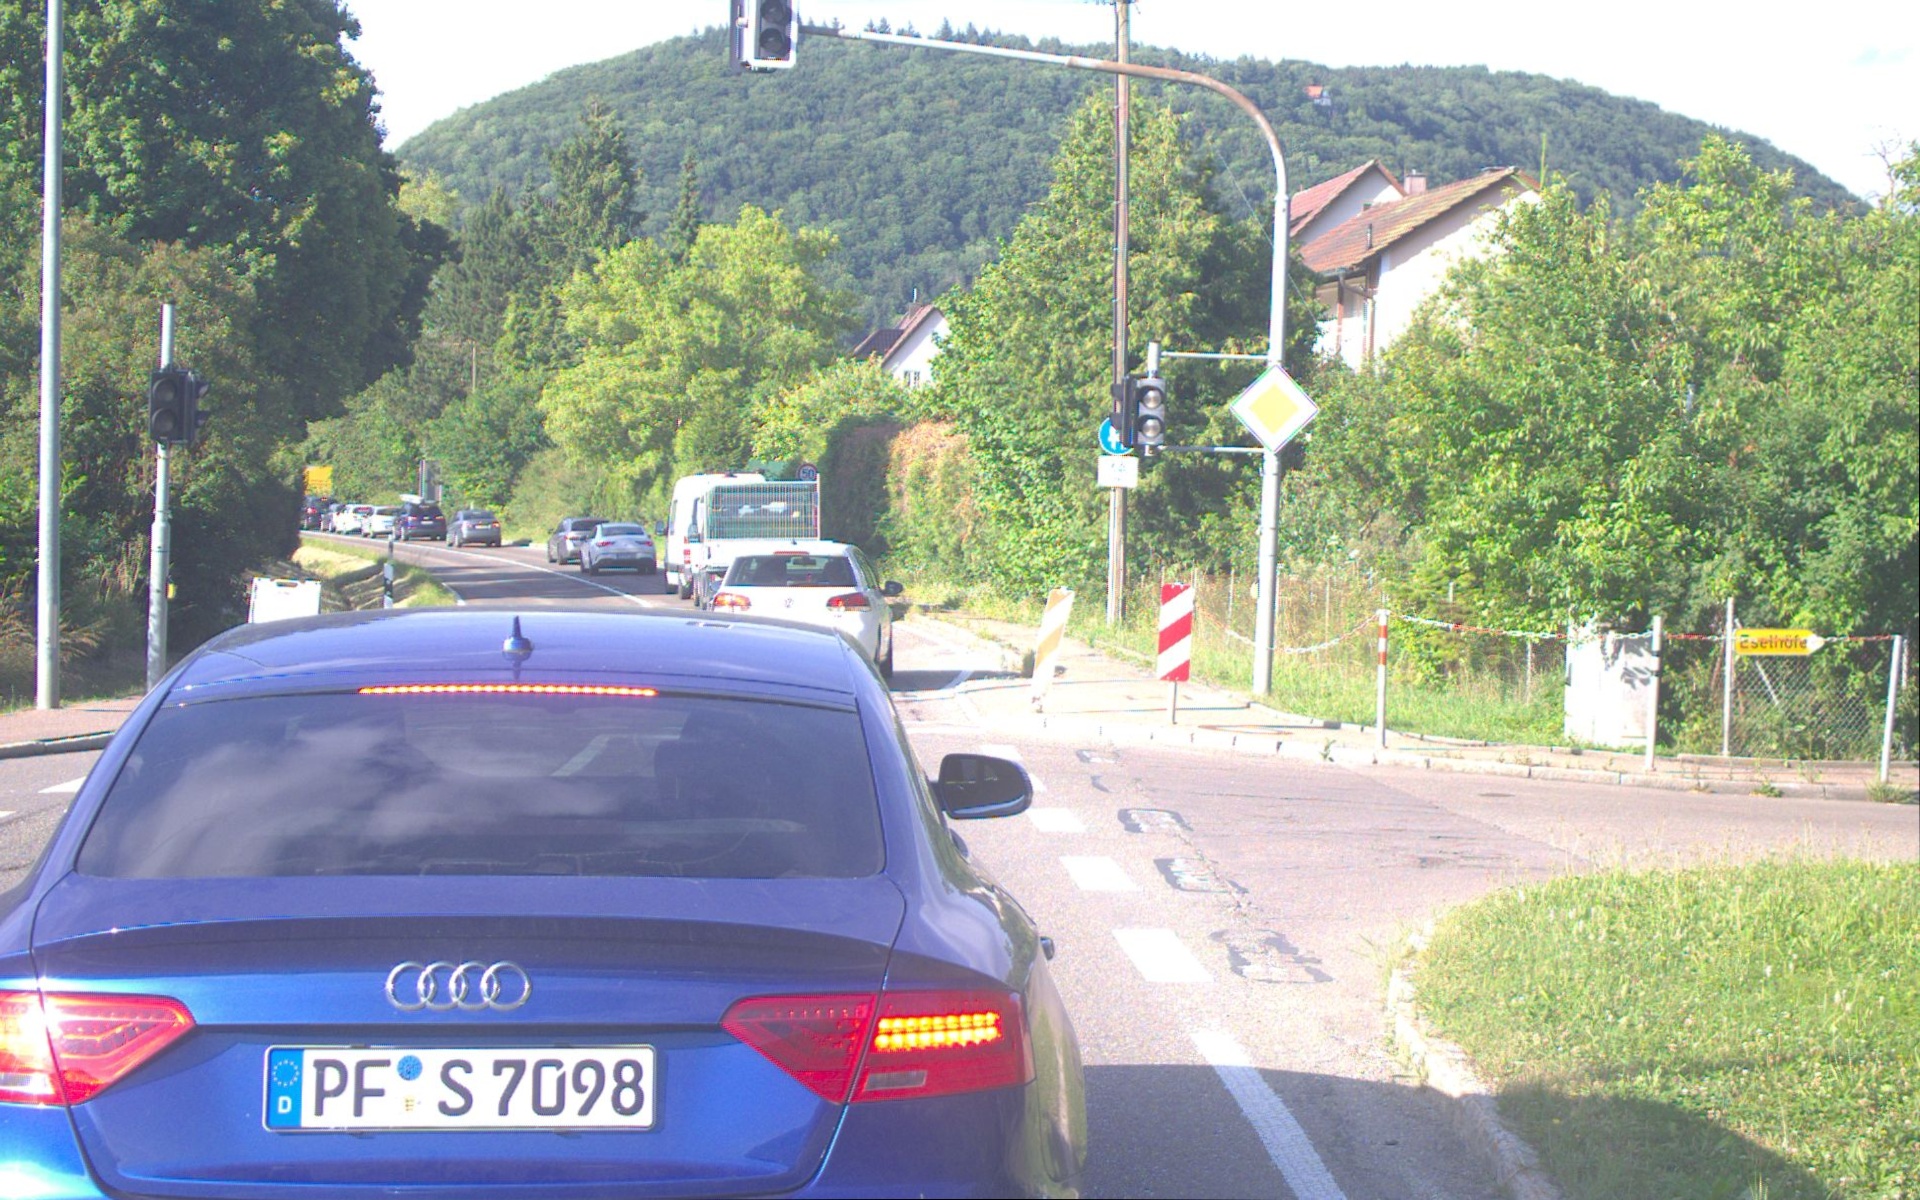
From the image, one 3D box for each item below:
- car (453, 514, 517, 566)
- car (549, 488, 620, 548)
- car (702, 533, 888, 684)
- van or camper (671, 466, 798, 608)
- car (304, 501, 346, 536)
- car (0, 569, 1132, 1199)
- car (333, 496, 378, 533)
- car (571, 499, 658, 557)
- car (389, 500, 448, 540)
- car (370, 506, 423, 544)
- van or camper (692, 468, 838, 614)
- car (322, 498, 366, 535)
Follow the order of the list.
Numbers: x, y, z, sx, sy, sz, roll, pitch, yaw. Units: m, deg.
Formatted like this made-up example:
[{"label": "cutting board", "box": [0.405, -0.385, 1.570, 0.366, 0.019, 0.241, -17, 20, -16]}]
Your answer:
[{"label": "car", "box": [-18.501, -2.351, 133.825, 1.993, 2.007, 4.001, 0, 1, -15]}, {"label": "car", "box": [-11.618, -2.540, 106.178, 1.796, 1.787, 4.001, -1, 1, -12]}, {"label": "car", "box": [-1.688, 0.042, 35.679, 1.771, 1.410, 4.174, 2, 1, -2]}, {"label": "van or camper", "box": [-4.858, -1.369, 73.234, 2.414, 2.894, 6.133, 0, 2, -6]}, {"label": "car", "box": [-32.819, -4.236, 177.645, 1.771, 1.776, 4.001, -1, 2, -16]}, {"label": "car", "box": [-0.776, 0.682, 6.476, 1.829, 1.404, 4.227, -1, 1, -2]}, {"label": "car", "box": [-29.062, -4.100, 165.222, 1.748, 1.776, 4.001, -1, 2, -16]}, {"label": "car", "box": [-9.563, -2.000, 94.955, 1.819, 1.546, 4.002, 0, 2, -14]}, {"label": "car", "box": [-23.331, -3.469, 148.001, 2.040, 1.678, 4.002, 0, 2, -16]}, {"label": "car", "box": [-25.688, -3.403, 156.537, 1.941, 1.678, 4.001, -1, 1, -15]}, {"label": "van or camper", "box": [-3.371, -1.039, 58.611, 2.179, 2.377, 5.371, 0, 2, -6]}, {"label": "car", "box": [-30.691, -4.163, 171.140, 1.771, 1.776, 4.001, -1, 2, -16]}]
